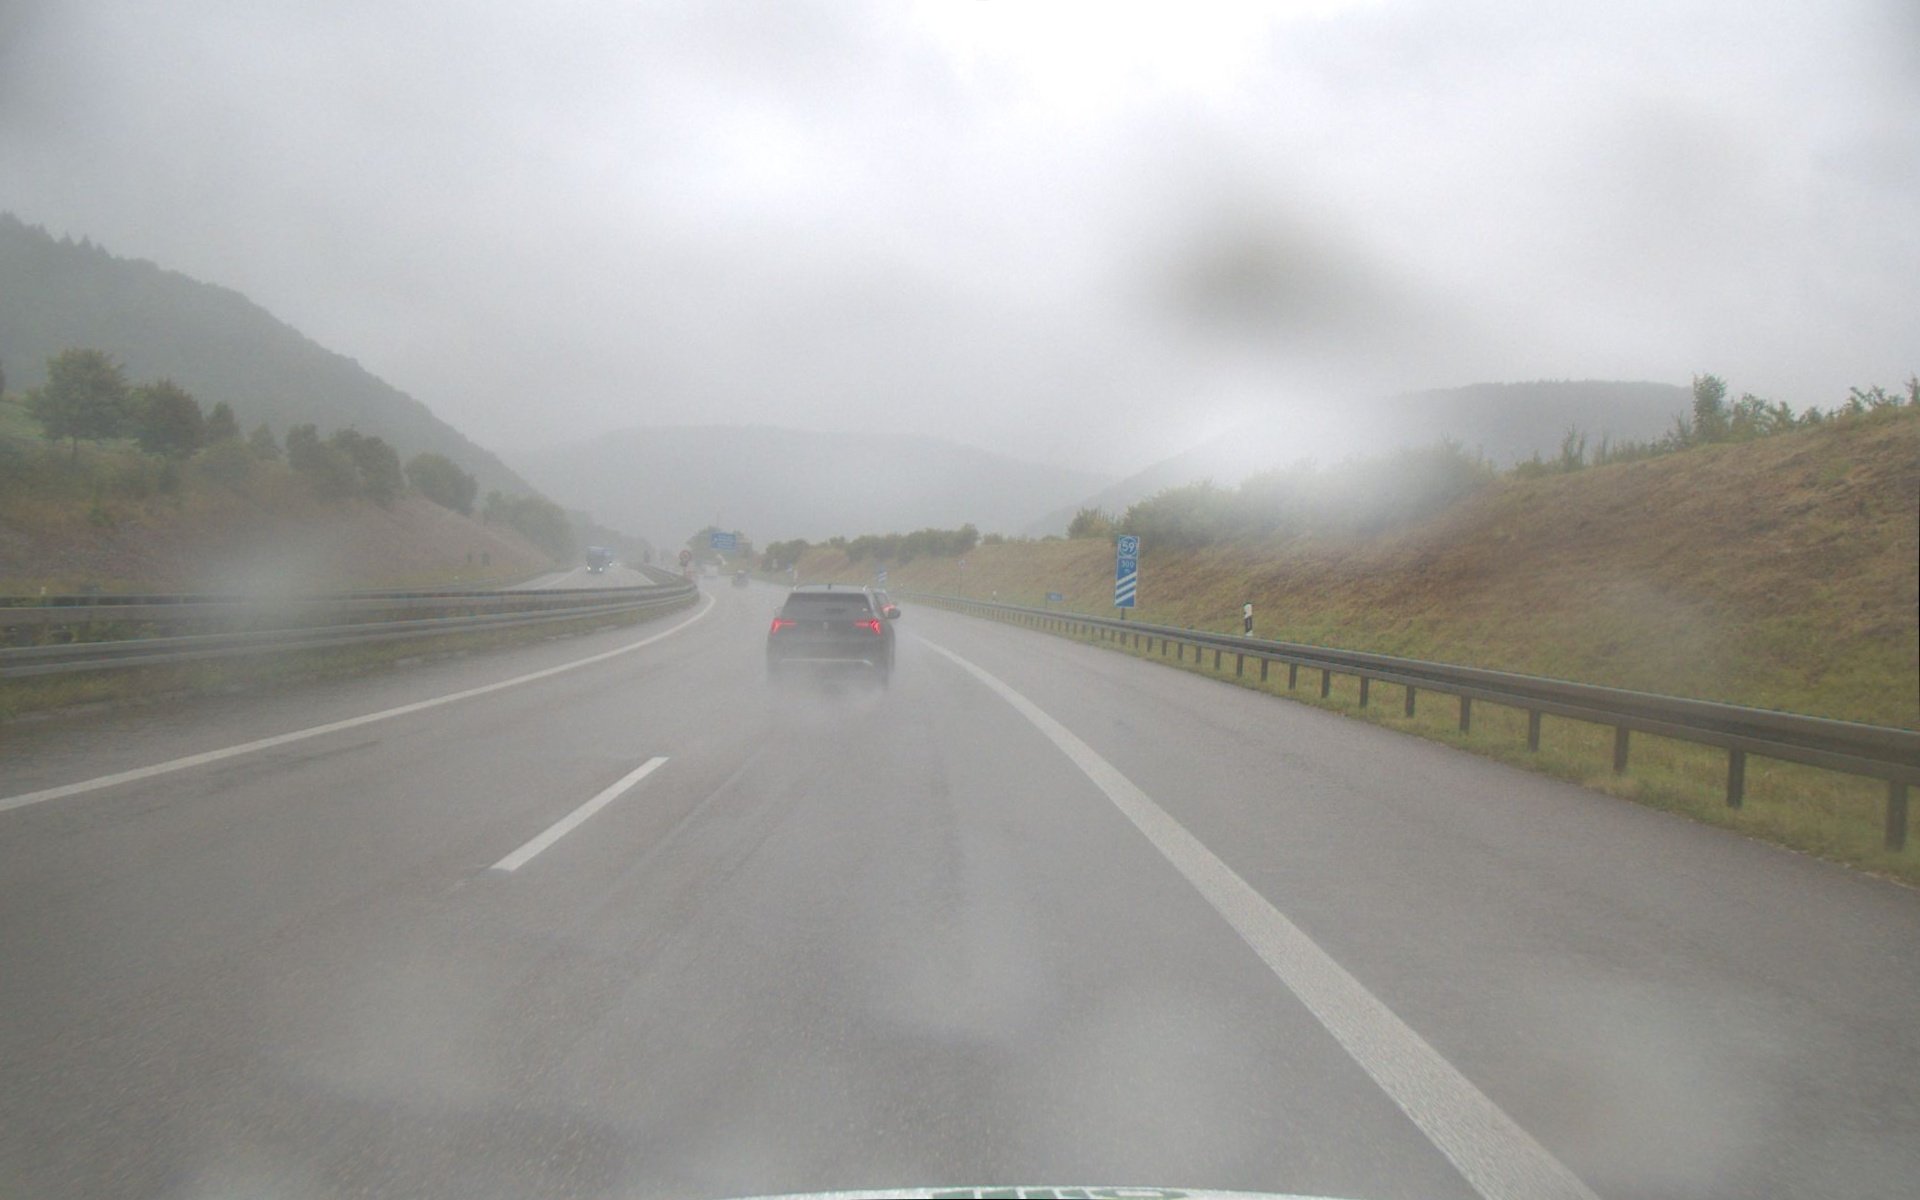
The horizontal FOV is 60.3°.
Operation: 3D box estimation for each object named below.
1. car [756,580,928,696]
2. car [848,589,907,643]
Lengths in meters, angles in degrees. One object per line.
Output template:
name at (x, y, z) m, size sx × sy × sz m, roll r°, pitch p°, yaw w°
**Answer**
car at (-1.838, 0.548, 25.714) m, size 2.359 × 1.542 × 4.779 m, roll 2°, pitch -1°, yaw -4°
car at (-2.454, 0.467, 49.800) m, size 1.645 × 1.498 × 3.813 m, roll 2°, pitch 0°, yaw -2°
